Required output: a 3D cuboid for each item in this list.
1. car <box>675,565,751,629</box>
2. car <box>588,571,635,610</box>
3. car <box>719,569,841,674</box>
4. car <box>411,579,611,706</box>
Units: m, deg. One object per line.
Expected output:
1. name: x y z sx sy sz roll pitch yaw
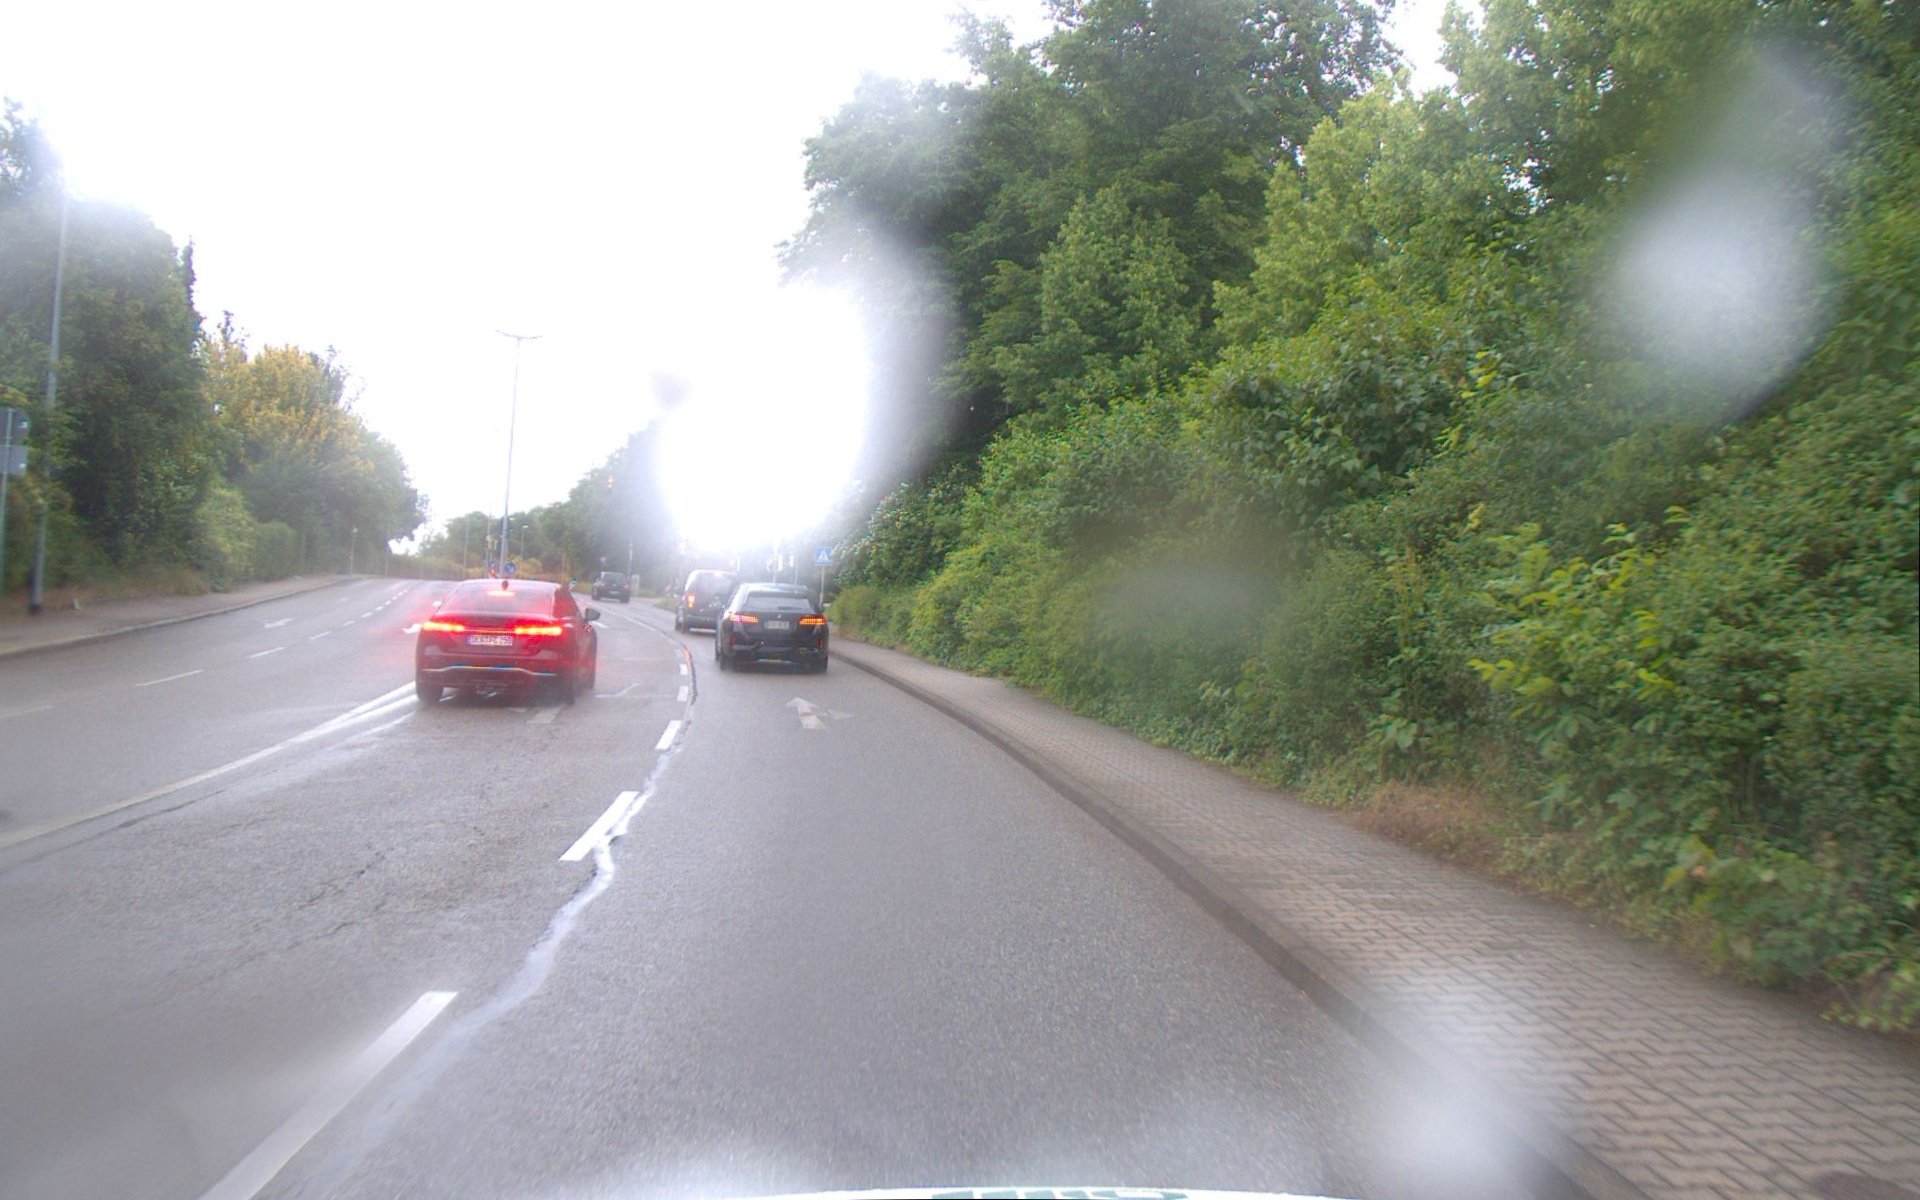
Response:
1. car: -7.321 -0.085 48.819 1.958 1.779 3.988 1 0 -12
2. car: -17.801 -0.463 84.374 1.823 1.691 3.978 3 -3 -18
3. car: -3.311 0.314 29.874 1.956 1.613 4.656 2 2 -8
4. car: -5.554 0.459 21.018 1.870 1.422 4.847 0 0 -8
